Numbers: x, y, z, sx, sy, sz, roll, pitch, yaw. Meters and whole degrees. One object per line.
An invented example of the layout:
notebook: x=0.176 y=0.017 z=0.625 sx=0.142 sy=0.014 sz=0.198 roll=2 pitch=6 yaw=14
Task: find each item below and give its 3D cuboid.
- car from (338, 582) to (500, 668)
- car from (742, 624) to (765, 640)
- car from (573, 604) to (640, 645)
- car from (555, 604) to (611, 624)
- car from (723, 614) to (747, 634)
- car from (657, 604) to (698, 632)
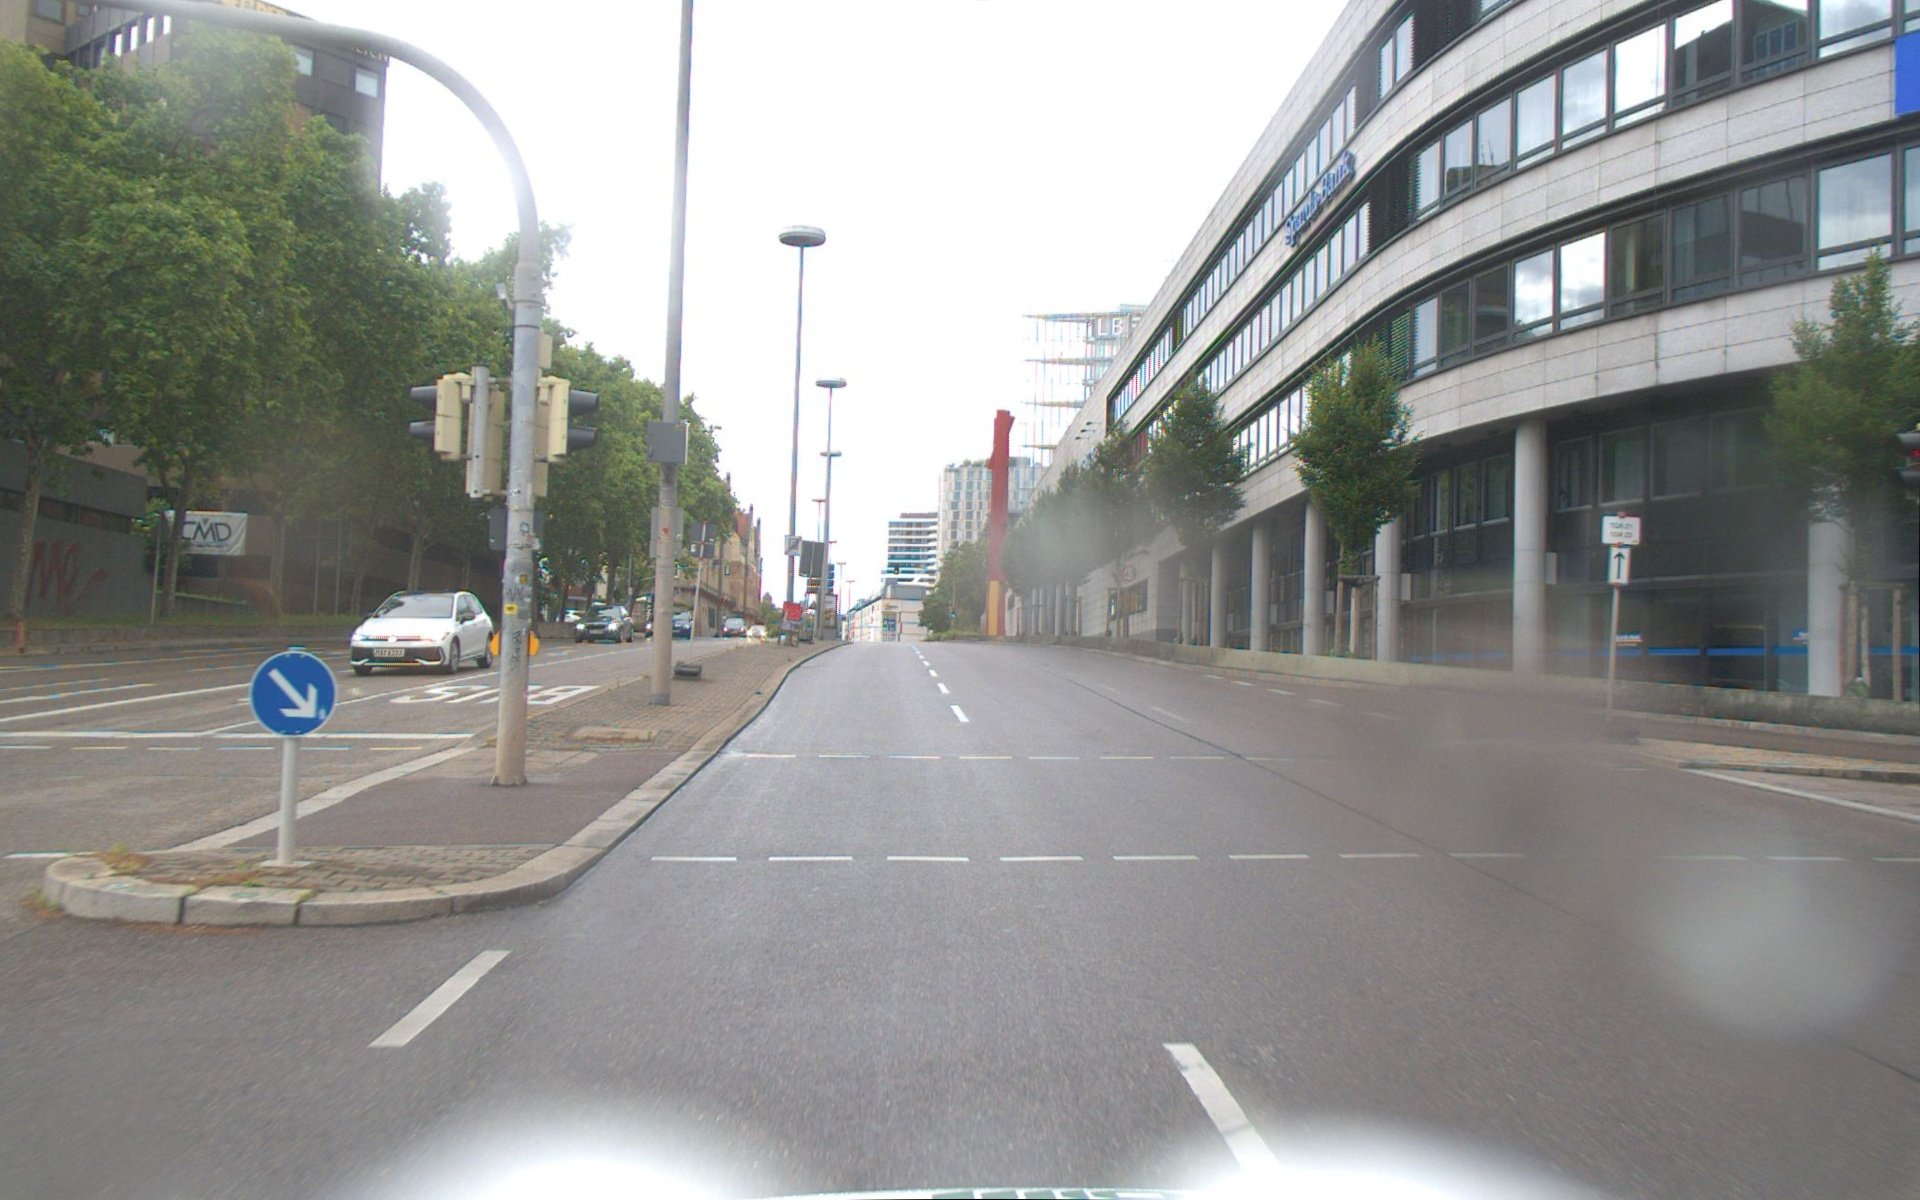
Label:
car: x=-9.910 y=0.431 z=30.633 sx=1.726 sy=1.486 sz=4.357 roll=0 pitch=0 yaw=-3
car: x=-19.890 y=3.066 z=159.378 sx=1.782 sy=1.428 sz=3.999 roll=0 pitch=-3 yaw=0
car: x=-13.374 y=0.897 z=62.757 sx=1.771 sy=1.474 sz=4.337 roll=0 pitch=0 yaw=-3
car: x=-31.722 y=1.165 z=139.264 sx=1.788 sy=1.537 sz=4.560 roll=-2 pitch=-3 yaw=35
car: x=-16.805 y=1.820 z=123.671 sx=1.654 sy=1.435 sz=3.994 roll=0 pitch=-1 yaw=-6
car: x=-15.130 y=0.969 z=88.730 sx=1.576 sy=1.499 sz=4.066 roll=1 pitch=-1 yaw=-1
